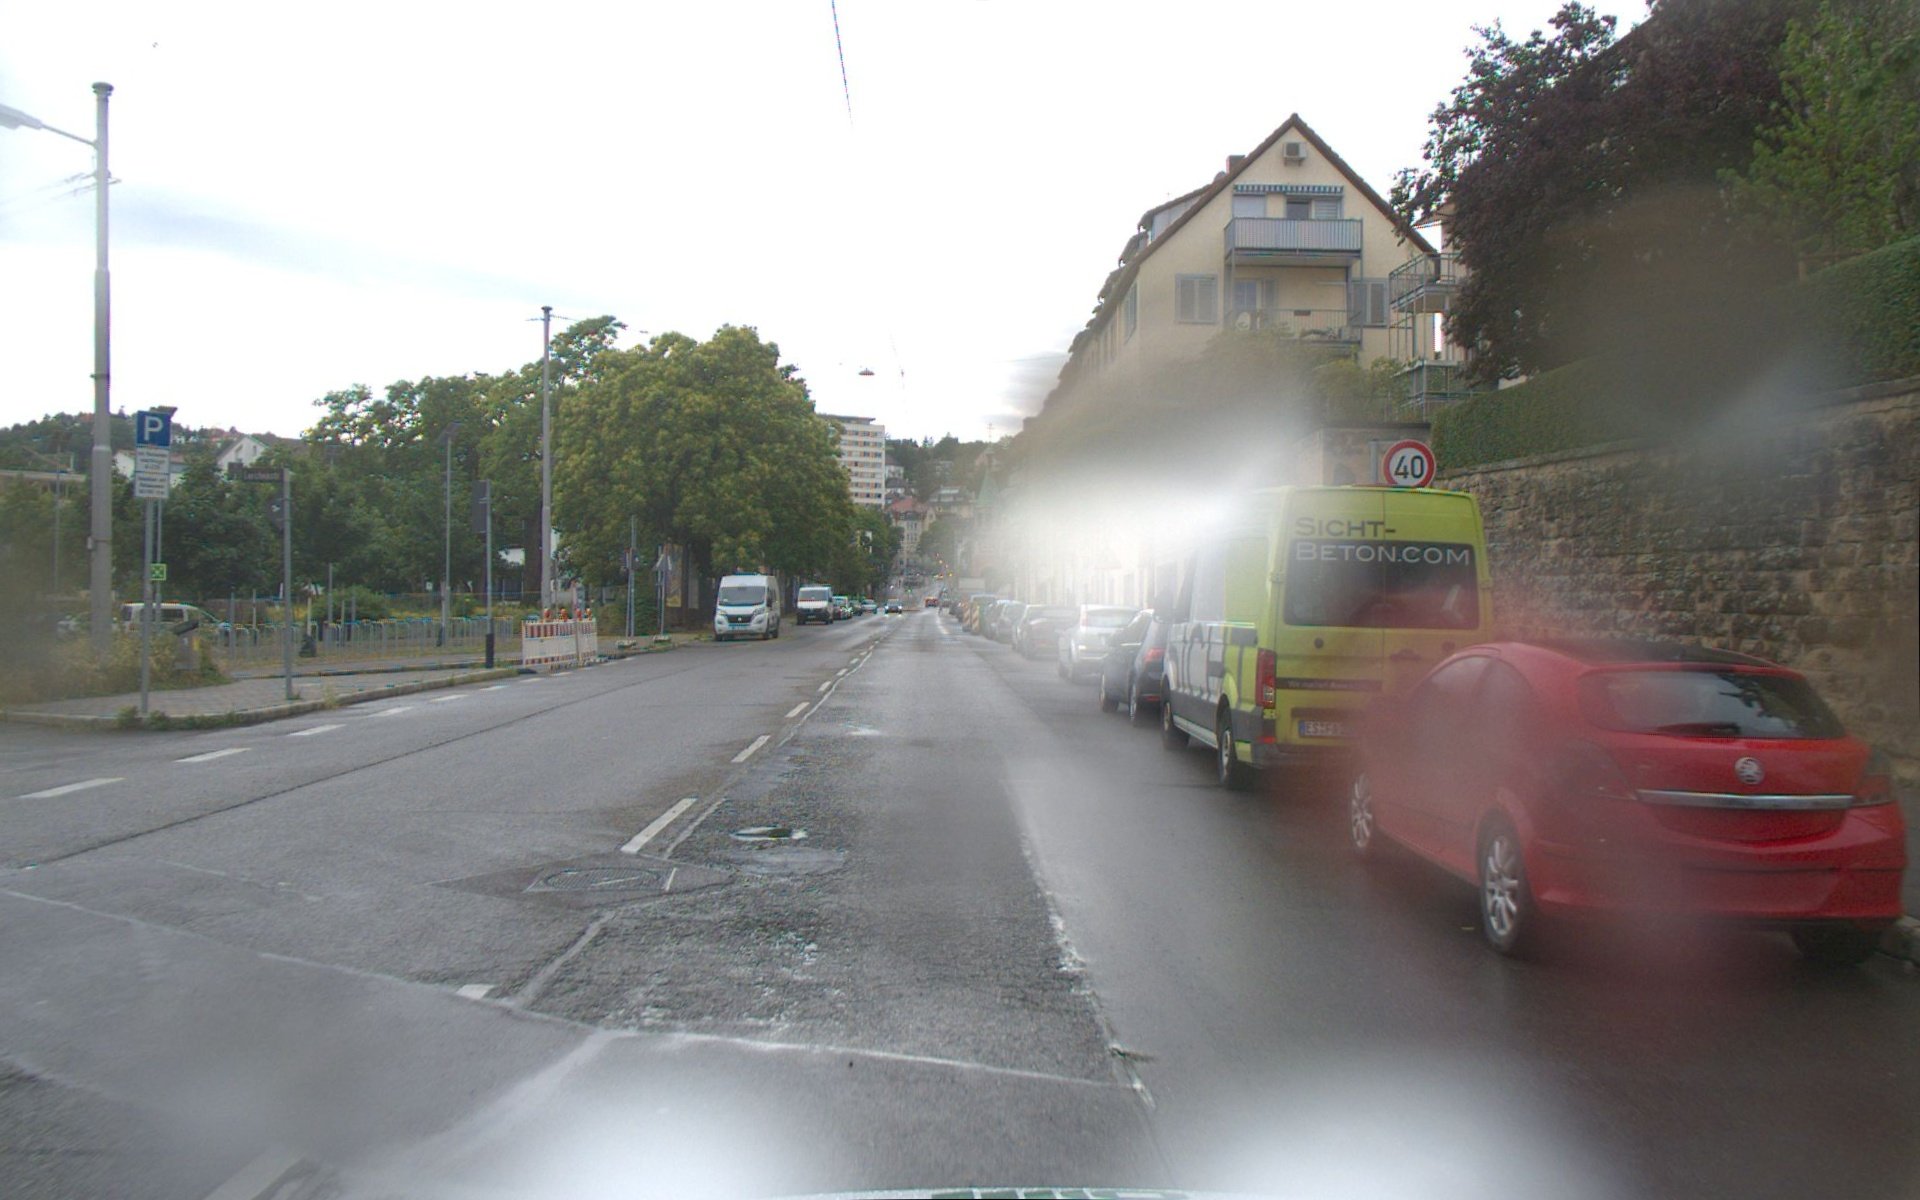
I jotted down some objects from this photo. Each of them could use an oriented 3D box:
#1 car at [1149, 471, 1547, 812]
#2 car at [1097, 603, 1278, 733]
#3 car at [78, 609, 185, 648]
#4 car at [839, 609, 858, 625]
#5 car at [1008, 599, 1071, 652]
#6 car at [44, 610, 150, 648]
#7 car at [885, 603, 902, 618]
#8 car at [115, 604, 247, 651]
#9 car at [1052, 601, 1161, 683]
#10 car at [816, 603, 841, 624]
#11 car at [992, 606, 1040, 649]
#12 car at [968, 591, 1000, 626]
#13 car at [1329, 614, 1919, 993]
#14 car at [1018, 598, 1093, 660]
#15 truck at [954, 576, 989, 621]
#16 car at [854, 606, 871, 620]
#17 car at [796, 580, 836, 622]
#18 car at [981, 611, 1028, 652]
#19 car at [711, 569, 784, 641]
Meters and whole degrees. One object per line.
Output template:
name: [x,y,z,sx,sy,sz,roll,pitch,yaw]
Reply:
car: [3.282,0.307,15.534,2.160,2.506,6.078,2,0,-1]
car: [2.894,0.814,21.901,1.654,1.479,4.234,2,0,-2]
car: [-37.162,1.272,74.242,1.767,1.654,3.979,-1,0,40]
car: [-10.742,1.662,159.820,1.767,1.476,4.654,0,-1,-3]
car: [2.393,0.741,50.365,1.596,1.479,3.758,2,0,-2]
car: [-39.894,1.309,76.507,1.767,1.654,3.979,-1,0,40]
car: [-6.891,1.088,171.308,1.769,1.440,4.381,0,0,-3]
car: [-32.668,1.133,69.439,1.963,1.866,4.668,-1,0,40]
car: [2.864,0.887,33.176,1.654,1.479,4.232,2,-3,-2]
car: [-9.445,0.984,119.141,1.648,1.423,3.908,-1,-1,-2]
car: [2.114,1.023,63.011,1.527,1.479,3.758,2,0,-2]
car: [1.420,0.494,97.699,1.780,1.958,4.238,0,0,0]
car: [3.304,0.852,8.836,1.686,1.446,4.203,2,0,0]
car: [2.469,0.729,43.583,1.596,1.479,3.758,2,0,-2]
truck: [0.827,-0.084,123.749,2.419,3.228,7.034,0,-1,-1]
car: [-10.282,1.363,175.122,1.675,1.476,4.292,0,-1,-2]
car: [-8.981,0.063,103.544,1.971,2.531,5.982,-1,0,0]
car: [1.816,1.279,68.385,1.681,1.551,3.999,2,0,-2]
car: [-8.244,0.175,64.706,2.185,2.624,6.535,-1,0,-2]
